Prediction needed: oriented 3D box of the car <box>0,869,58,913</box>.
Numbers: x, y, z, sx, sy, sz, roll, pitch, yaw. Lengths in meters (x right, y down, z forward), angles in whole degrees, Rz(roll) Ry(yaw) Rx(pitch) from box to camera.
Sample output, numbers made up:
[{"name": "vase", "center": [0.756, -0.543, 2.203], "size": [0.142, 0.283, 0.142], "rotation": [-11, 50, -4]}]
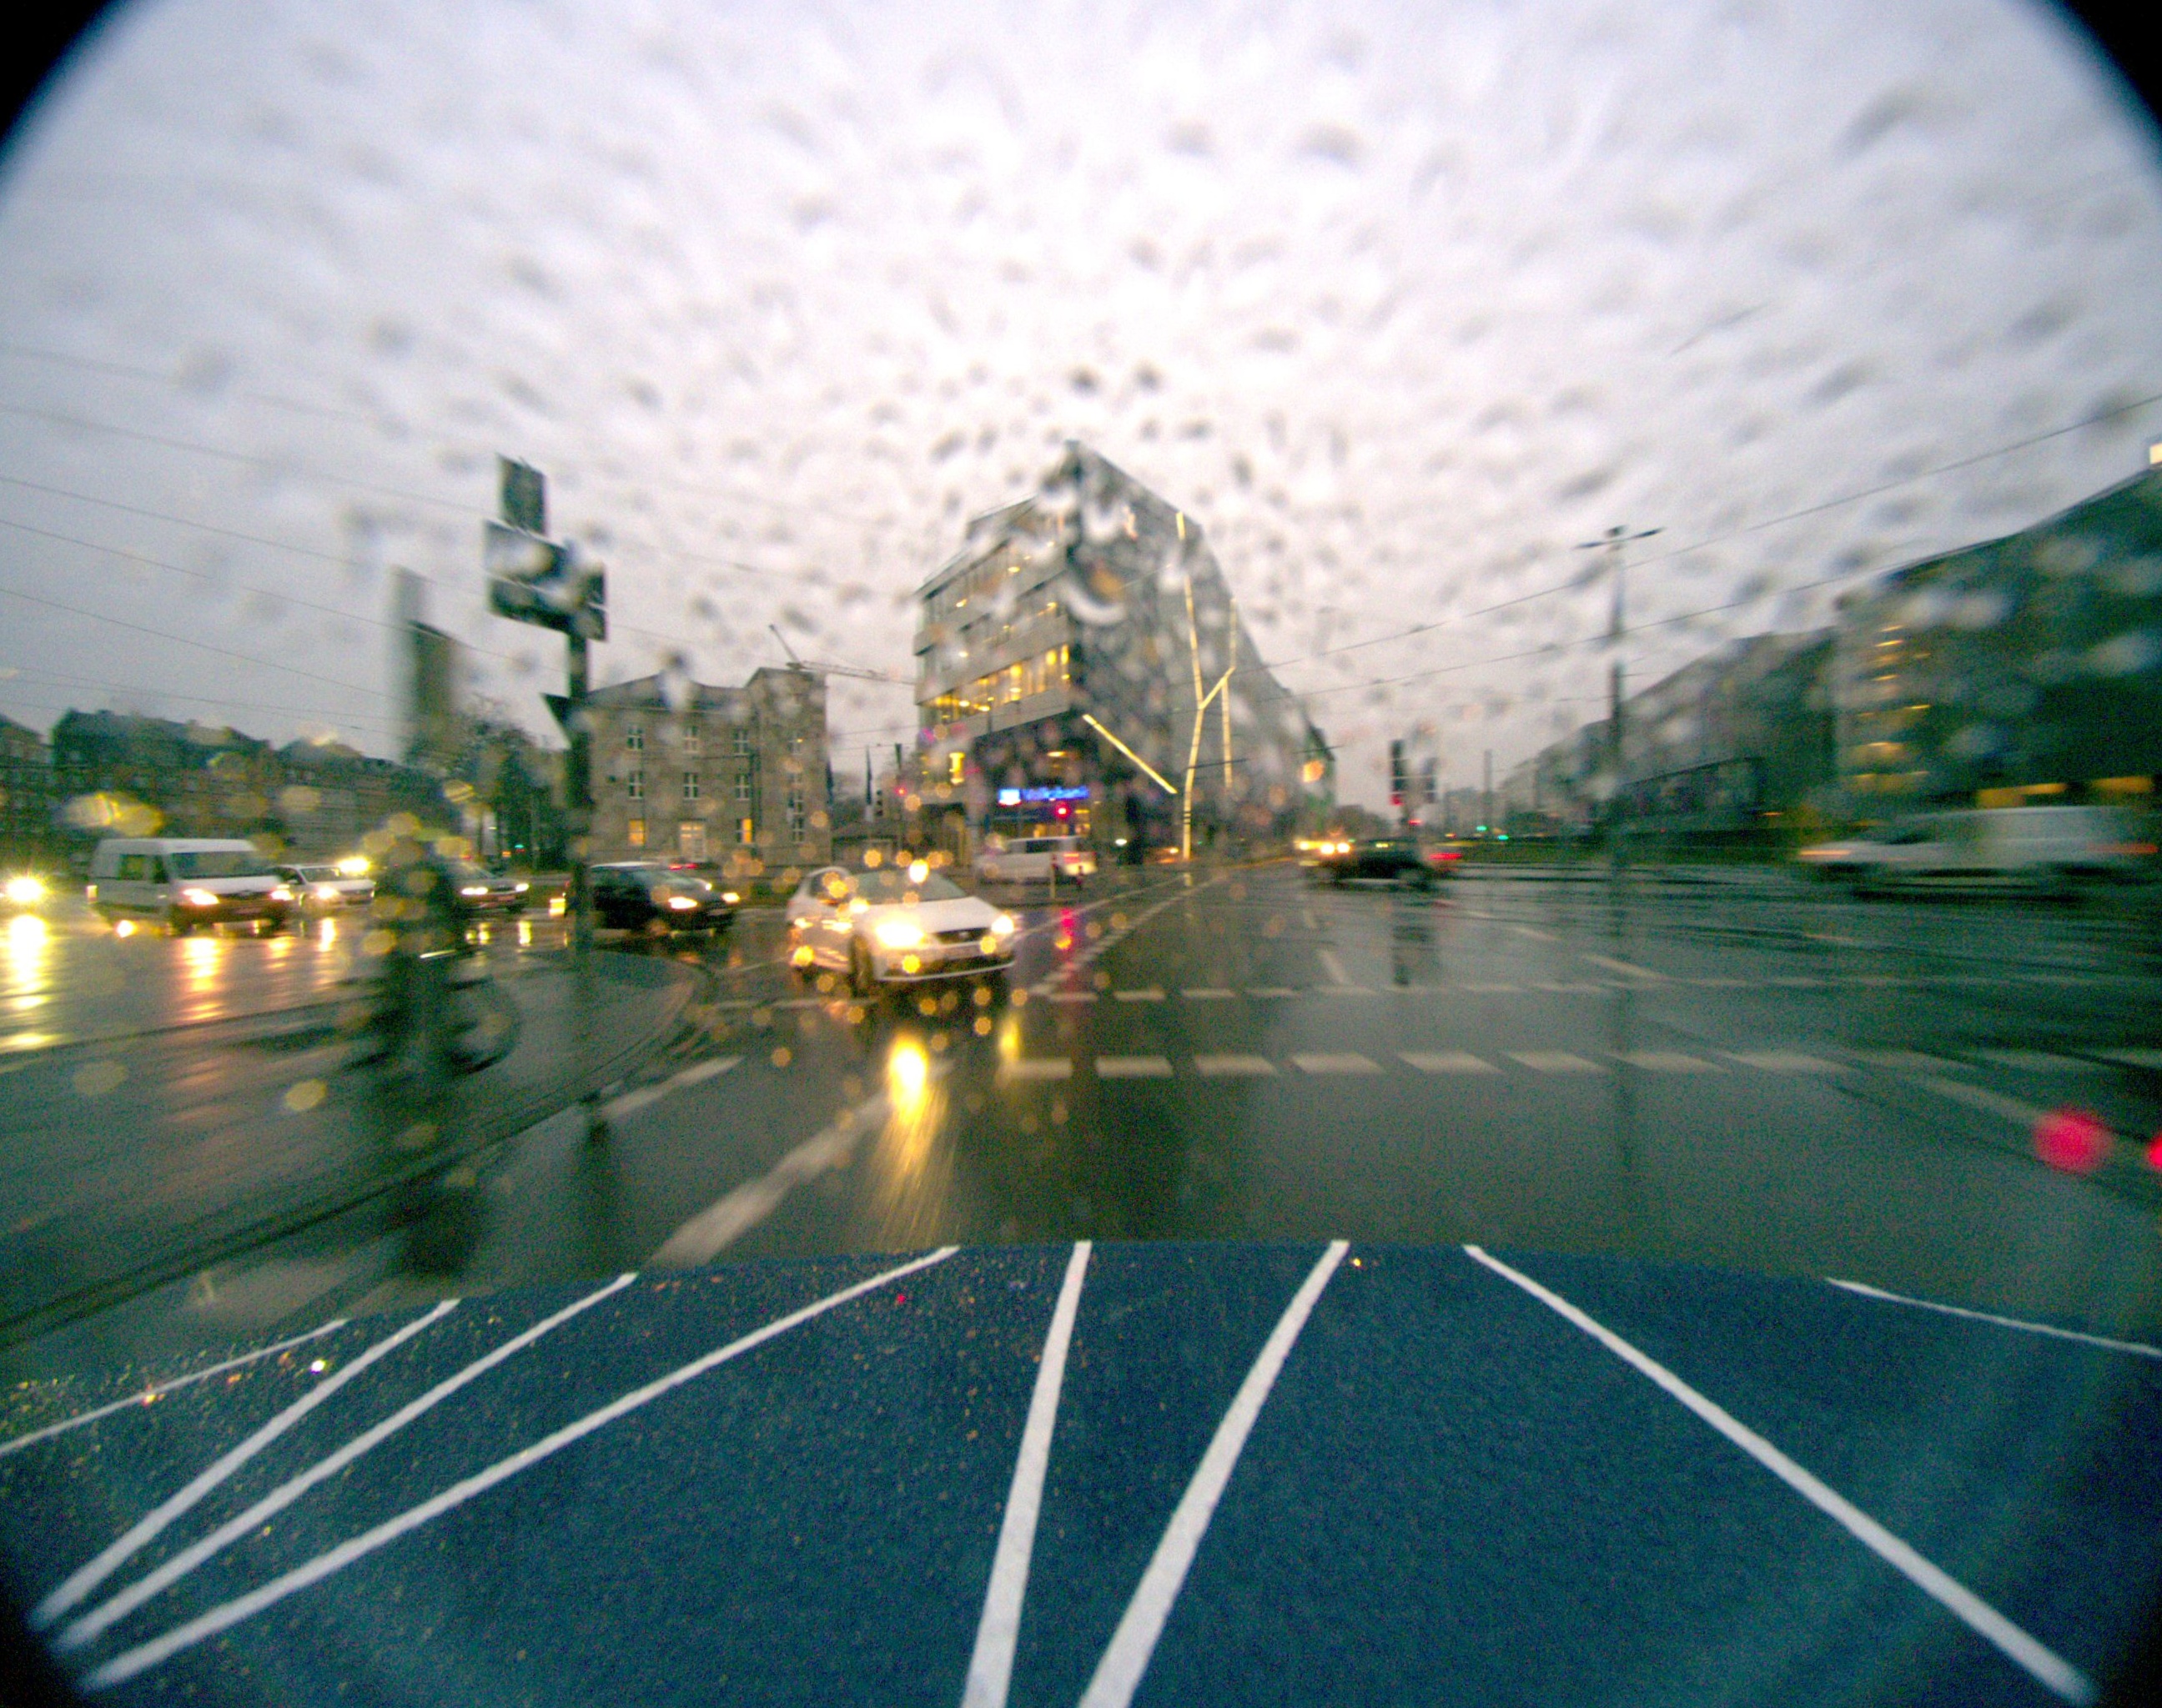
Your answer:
[{"name": "car", "center": [-41.084, 1.392, 28.979], "size": [3.996, 1.590, 1.906], "rotation": [-1, 1, 29]}]

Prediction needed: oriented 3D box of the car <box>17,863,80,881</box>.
[{"name": "car", "center": [-90.428, 1.587, 66.603], "size": [1.378, 1.405, 3.193], "rotation": [0, 1, 37]}]

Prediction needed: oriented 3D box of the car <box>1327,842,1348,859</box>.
[{"name": "car", "center": [26.756, -0.346, 79.257], "size": [1.830, 1.652, 4.006], "rotation": [-1, 1, 22]}]

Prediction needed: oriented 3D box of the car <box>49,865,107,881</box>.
[{"name": "car", "center": [-92.197, 1.733, 69.882], "size": [1.378, 1.276, 3.193], "rotation": [0, 1, 37]}]

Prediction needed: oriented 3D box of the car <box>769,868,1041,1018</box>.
[{"name": "car", "center": [-2.470, 0.929, 9.779], "size": [1.792, 1.371, 4.211], "rotation": [-4, 2, -37]}]

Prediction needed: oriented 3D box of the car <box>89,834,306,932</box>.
[{"name": "car", "center": [-24.619, 0.729, 21.164], "size": [5.655, 2.449, 2.246], "rotation": [-1, 2, 23]}]

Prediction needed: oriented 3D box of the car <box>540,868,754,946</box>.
[{"name": "car", "center": [-8.956, 1.031, 15.718], "size": [3.813, 1.380, 1.726], "rotation": [-1, 2, 20]}]

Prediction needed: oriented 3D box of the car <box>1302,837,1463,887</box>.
[{"name": "car", "center": [9.391, 0.239, 23.882], "size": [4.411, 1.436, 1.632], "rotation": [-1, 1, 39]}]

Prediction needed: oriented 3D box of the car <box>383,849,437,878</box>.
[{"name": "car", "center": [-47.028, 0.668, 53.214], "size": [4.948, 1.861, 1.908], "rotation": [0, 2, 38]}]

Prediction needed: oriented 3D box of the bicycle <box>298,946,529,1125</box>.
[{"name": "bicycle", "center": [-4.897, 1.241, 5.549], "size": [1.861, 0.968, 0.658], "rotation": [-1, 1, 29]}]

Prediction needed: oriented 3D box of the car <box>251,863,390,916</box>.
[{"name": "car", "center": [-25.013, 1.144, 24.998], "size": [4.213, 1.590, 1.679], "rotation": [-1, 1, 22]}]

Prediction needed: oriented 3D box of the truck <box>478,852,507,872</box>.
[{"name": "truck", "center": [-64.475, 0.850, 83.293], "size": [1.841, 2.033, 3.990], "rotation": [-2, 1, -30]}]

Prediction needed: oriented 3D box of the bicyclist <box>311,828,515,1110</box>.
[{"name": "bicyclist", "center": [-4.931, 0.761, 5.628], "size": [0.986, 1.880, 0.794], "rotation": [-1, 2, 29]}]

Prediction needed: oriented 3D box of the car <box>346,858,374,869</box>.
[{"name": "car", "center": [-91.780, 1.177, 96.729], "size": [1.755, 1.362, 3.605], "rotation": [-2, 1, -31]}]

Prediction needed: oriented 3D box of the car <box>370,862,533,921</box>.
[{"name": "car", "center": [-18.685, 1.065, 22.561], "size": [4.351, 1.561, 1.829], "rotation": [-1, 1, 22]}]

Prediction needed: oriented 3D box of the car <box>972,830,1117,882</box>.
[{"name": "car", "center": [-1.533, 0.091, 31.497], "size": [5.647, 2.047, 1.956], "rotation": [-1, 1, 24]}]

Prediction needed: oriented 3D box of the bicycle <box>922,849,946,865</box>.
[{"name": "bicycle", "center": [-10.191, 0.207, 52.643], "size": [1.500, 1.121, 0.527], "rotation": [-2, 1, -30]}]

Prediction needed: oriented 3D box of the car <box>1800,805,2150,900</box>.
[{"name": "car", "center": [18.479, -0.045, 16.018], "size": [1.933, 1.709, 4.597], "rotation": [-2, 1, -38]}]

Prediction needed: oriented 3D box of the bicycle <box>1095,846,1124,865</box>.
[{"name": "bicycle", "center": [1.735, 0.089, 46.237], "size": [1.597, 1.064, 0.643], "rotation": [-2, 1, 23]}]

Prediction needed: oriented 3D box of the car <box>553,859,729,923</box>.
[{"name": "car", "center": [-11.542, 0.938, 19.998], "size": [3.909, 1.455, 1.765], "rotation": [-1, 3, 18]}]

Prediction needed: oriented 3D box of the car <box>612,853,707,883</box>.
[{"name": "car", "center": [-21.866, 0.726, 39.418], "size": [4.331, 1.477, 1.869], "rotation": [-1, 1, 20]}]
